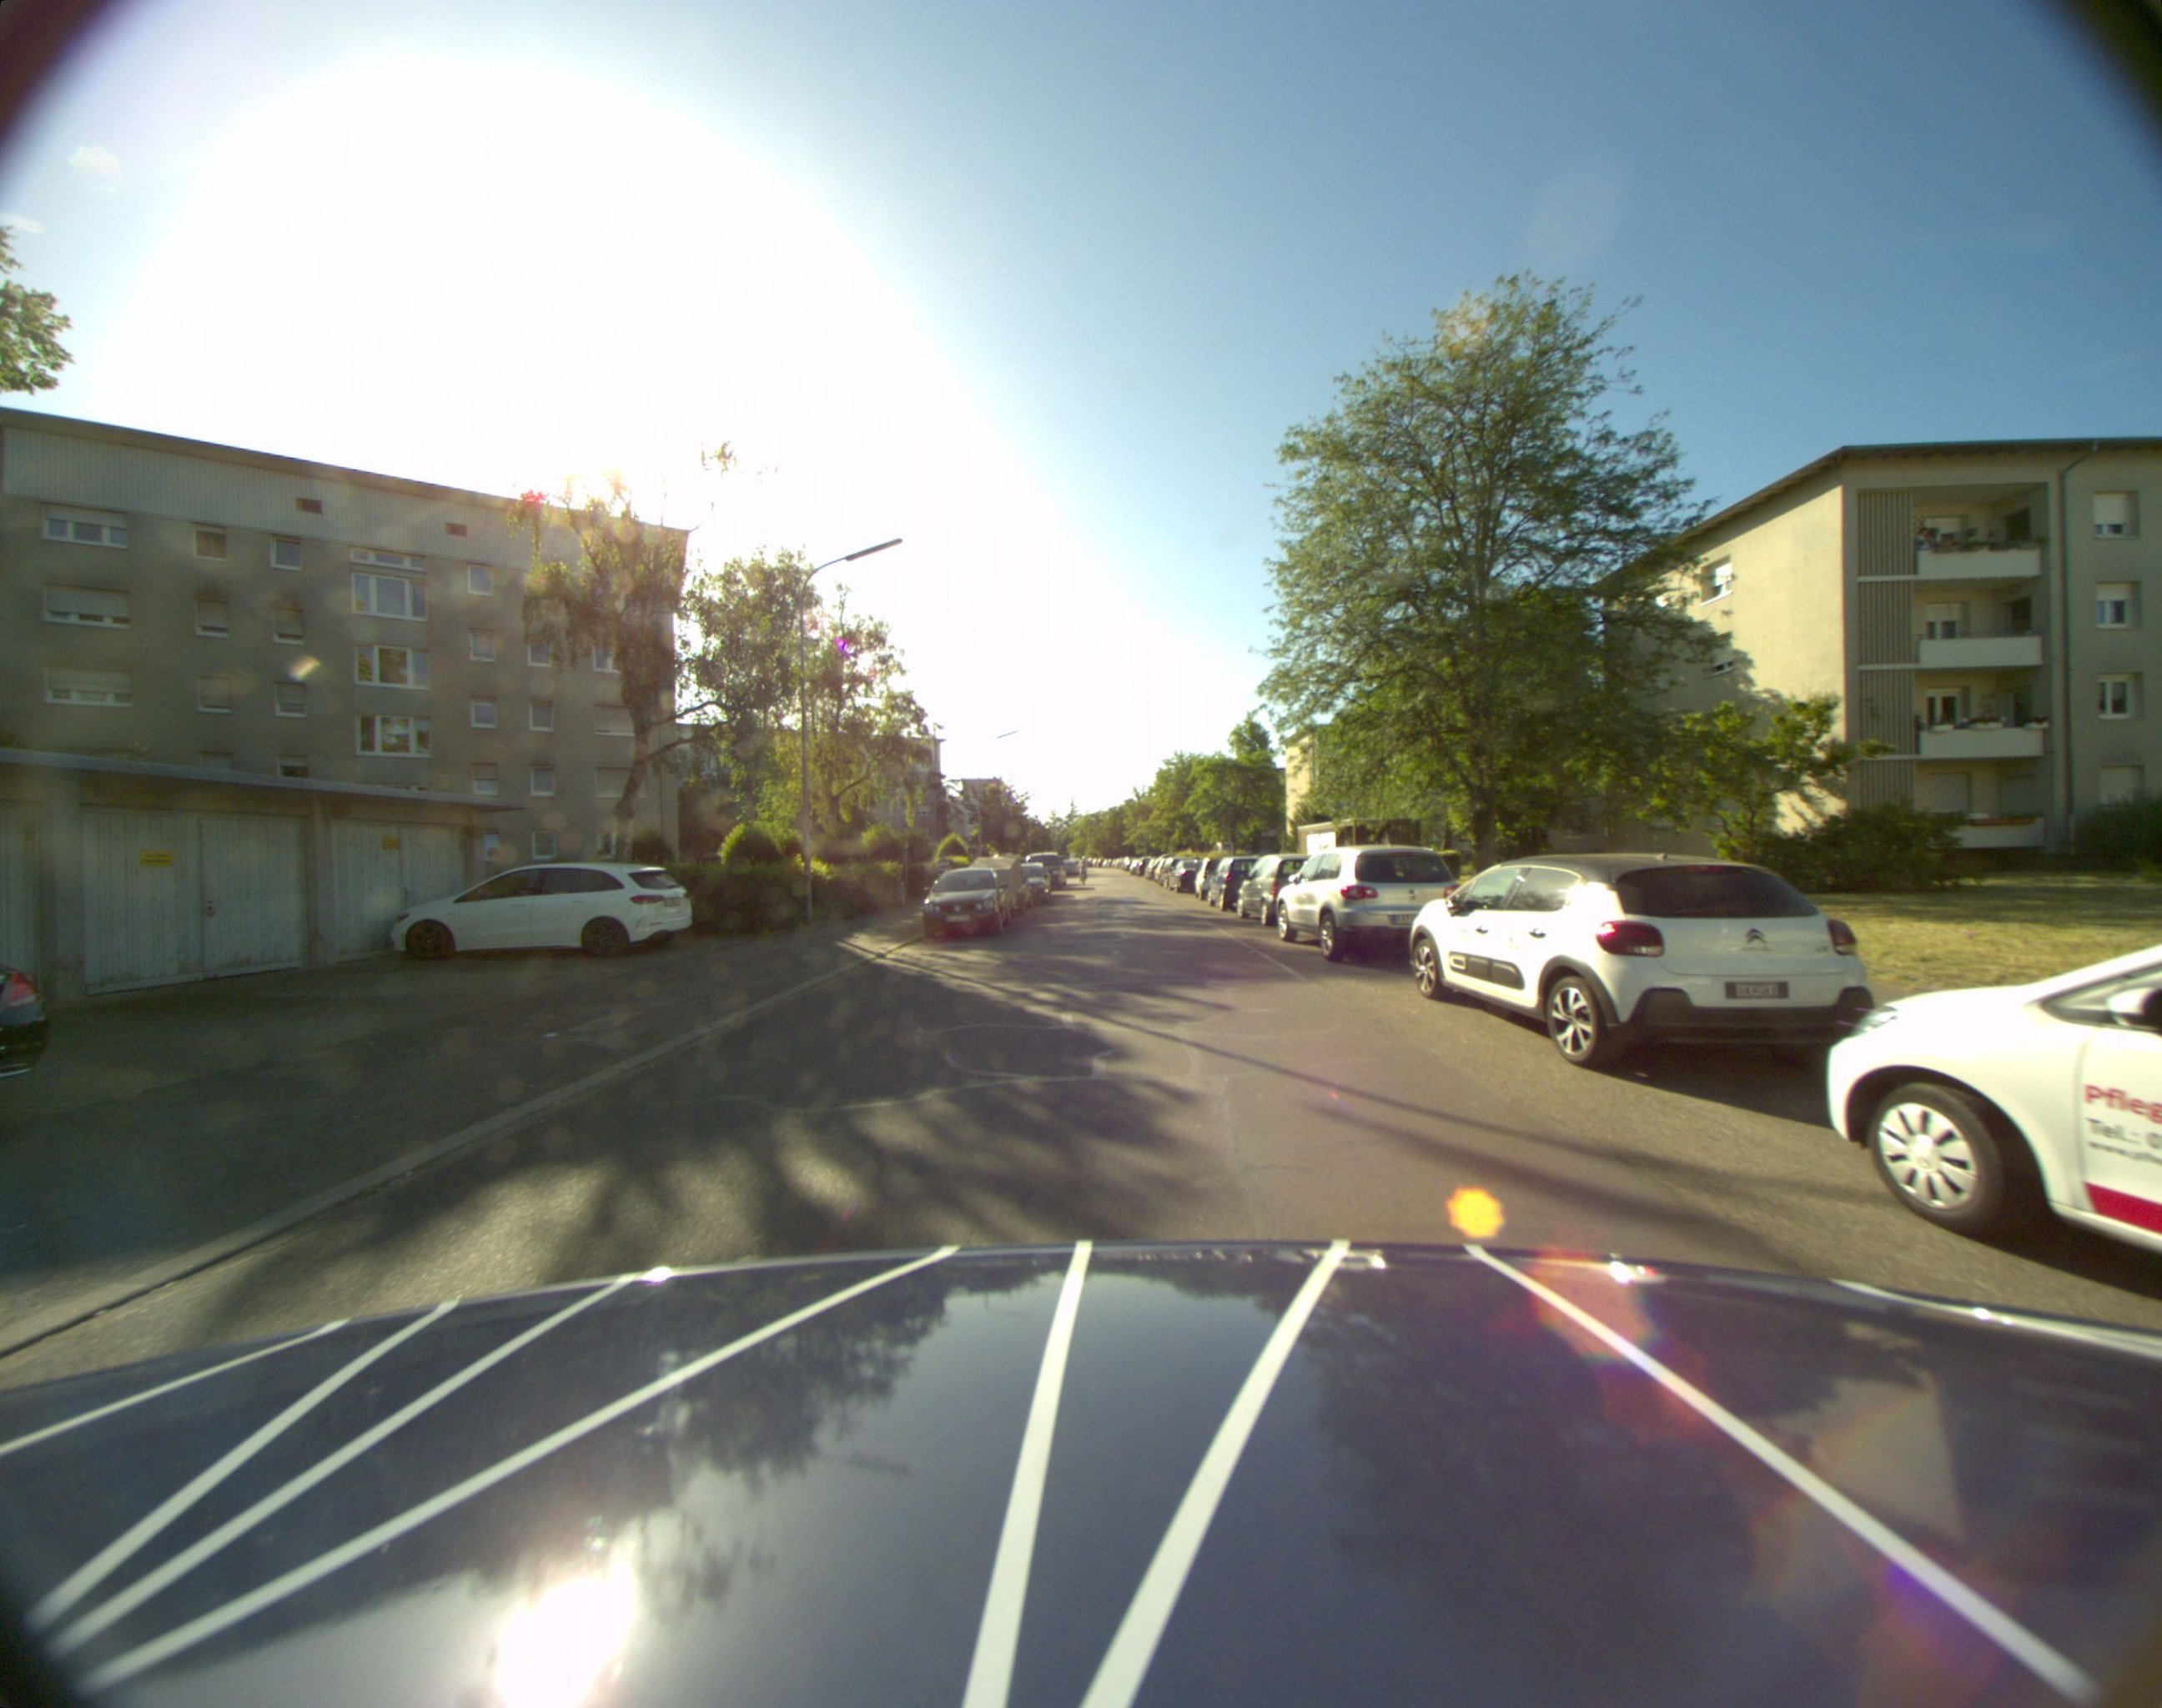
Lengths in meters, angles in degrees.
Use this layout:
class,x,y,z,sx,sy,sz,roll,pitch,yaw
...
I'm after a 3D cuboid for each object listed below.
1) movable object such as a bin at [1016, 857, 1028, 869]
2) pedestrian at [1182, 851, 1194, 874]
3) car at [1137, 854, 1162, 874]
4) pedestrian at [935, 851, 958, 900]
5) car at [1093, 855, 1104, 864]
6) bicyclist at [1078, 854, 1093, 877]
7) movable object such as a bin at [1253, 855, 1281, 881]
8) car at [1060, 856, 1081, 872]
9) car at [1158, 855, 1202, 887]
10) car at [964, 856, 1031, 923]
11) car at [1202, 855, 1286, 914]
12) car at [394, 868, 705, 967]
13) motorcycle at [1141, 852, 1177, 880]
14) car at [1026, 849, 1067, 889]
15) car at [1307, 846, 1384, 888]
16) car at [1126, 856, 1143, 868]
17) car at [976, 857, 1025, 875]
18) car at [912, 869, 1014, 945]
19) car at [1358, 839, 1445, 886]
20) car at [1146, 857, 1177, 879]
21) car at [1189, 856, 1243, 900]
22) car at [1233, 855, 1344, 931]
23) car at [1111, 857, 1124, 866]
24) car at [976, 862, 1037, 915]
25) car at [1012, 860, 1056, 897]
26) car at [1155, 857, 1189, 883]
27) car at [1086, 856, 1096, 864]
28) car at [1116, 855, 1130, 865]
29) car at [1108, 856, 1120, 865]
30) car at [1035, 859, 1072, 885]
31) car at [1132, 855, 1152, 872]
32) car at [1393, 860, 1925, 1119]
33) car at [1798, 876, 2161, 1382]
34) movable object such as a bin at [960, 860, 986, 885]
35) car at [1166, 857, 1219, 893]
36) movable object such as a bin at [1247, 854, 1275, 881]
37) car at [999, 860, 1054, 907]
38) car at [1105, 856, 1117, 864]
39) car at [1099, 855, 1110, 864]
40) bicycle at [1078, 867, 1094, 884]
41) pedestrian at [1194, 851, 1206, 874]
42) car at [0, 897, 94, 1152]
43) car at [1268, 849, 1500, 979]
class,x,y,z,sx,sy,sz,roll,pitch,yaw
movable object such as a bin,-6.912,1.044,88.692,1.328,1.423,1.029,-2,0,-5
pedestrian,7.925,0.652,56.212,0.722,1.669,0.616,-2,0,1
car,5.646,0.813,63.113,1.758,1.626,4.370,1,0,1
pedestrian,-5.289,0.825,29.841,0.705,1.877,0.872,1,1,2
car,3.454,1.076,151.368,1.658,1.621,3.688,0,0,-7
bicyclist,0.288,0.665,44.346,0.812,1.348,1.091,-2,0,2
movable object such as a bin,9.689,0.714,39.628,1.180,1.332,1.343,-2,0,3
car,-1.038,0.971,75.870,1.808,1.486,3.796,-2,0,2
car,5.120,0.836,39.697,1.759,1.565,3.720,1,0,0
car,-2.299,0.951,21.497,1.492,1.708,2.583,-3,0,1
car,4.772,0.836,22.727,1.758,1.597,3.969,1,0,2
car,-8.839,1.018,12.924,3.953,1.505,1.828,0,0,-2
motorcycle,5.073,0.780,49.556,2.262,1.717,0.932,1,1,-2
car,-1.783,0.756,40.926,1.857,1.923,4.705,-3,0,1
car,10.378,0.486,30.133,1.574,1.516,4.000,-2,0,-1
car,6.390,0.923,90.977,1.758,1.377,4.674,0,1,0
car,-7.296,1.068,69.208,4.193,1.486,1.818,-2,0,-2
car,-2.566,1.109,17.407,1.736,1.395,3.894,-3,0,-1
car,12.280,0.297,29.367,1.574,1.631,4.000,-2,0,-1
car,5.495,0.910,52.458,1.758,1.412,4.269,1,0,1
car,5.041,0.860,28.638,1.448,1.565,3.142,1,0,0
car,4.694,0.816,17.678,1.640,1.597,3.535,0,0,0
car,6.046,1.154,126.010,1.635,1.470,3.878,0,0,-4
car,-2.330,1.069,24.254,1.418,1.514,2.558,-3,0,5
car,-2.041,1.052,34.125,1.627,1.481,4.036,-3,0,1
car,5.364,0.903,45.250,1.758,1.472,3.960,1,0,3
car,1.910,1.100,145.968,1.915,1.468,4.571,-1,0,1
car,6.681,0.948,120.761,1.811,1.470,3.940,0,0,-1
car,5.751,1.090,132.750,1.658,1.470,3.105,0,0,-4
car,-1.635,1.076,46.660,1.805,1.410,4.636,-2,0,3
car,5.580,0.872,69.719,1.758,1.416,4.211,1,1,3
car,4.243,0.828,6.502,1.666,1.504,3.946,0,0,2
car,4.188,0.857,1.709,1.667,1.504,3.536,0,0,-5
movable object such as a bin,-6.222,1.071,43.890,1.226,1.357,1.133,-1,0,5
car,4.969,0.886,34.382,1.758,1.472,4.537,1,0,0
movable object such as a bin,9.697,0.724,41.045,1.180,1.400,1.343,-2,0,2
car,-1.962,1.034,28.410,1.736,1.481,4.500,-3,0,-1
car,5.393,1.098,138.060,1.658,1.470,3.733,0,0,-6
car,4.432,1.033,145.385,1.658,1.621,4.070,0,0,-5
bicycle,0.306,1.257,44.177,0.824,0.896,2.203,-2,0,2
pedestrian,8.775,0.611,56.117,0.722,1.669,0.600,-2,0,1
car,-8.759,1.048,4.140,4.524,1.505,1.829,0,0,2
car,4.339,0.755,11.711,1.908,1.630,4.349,0,0,1
